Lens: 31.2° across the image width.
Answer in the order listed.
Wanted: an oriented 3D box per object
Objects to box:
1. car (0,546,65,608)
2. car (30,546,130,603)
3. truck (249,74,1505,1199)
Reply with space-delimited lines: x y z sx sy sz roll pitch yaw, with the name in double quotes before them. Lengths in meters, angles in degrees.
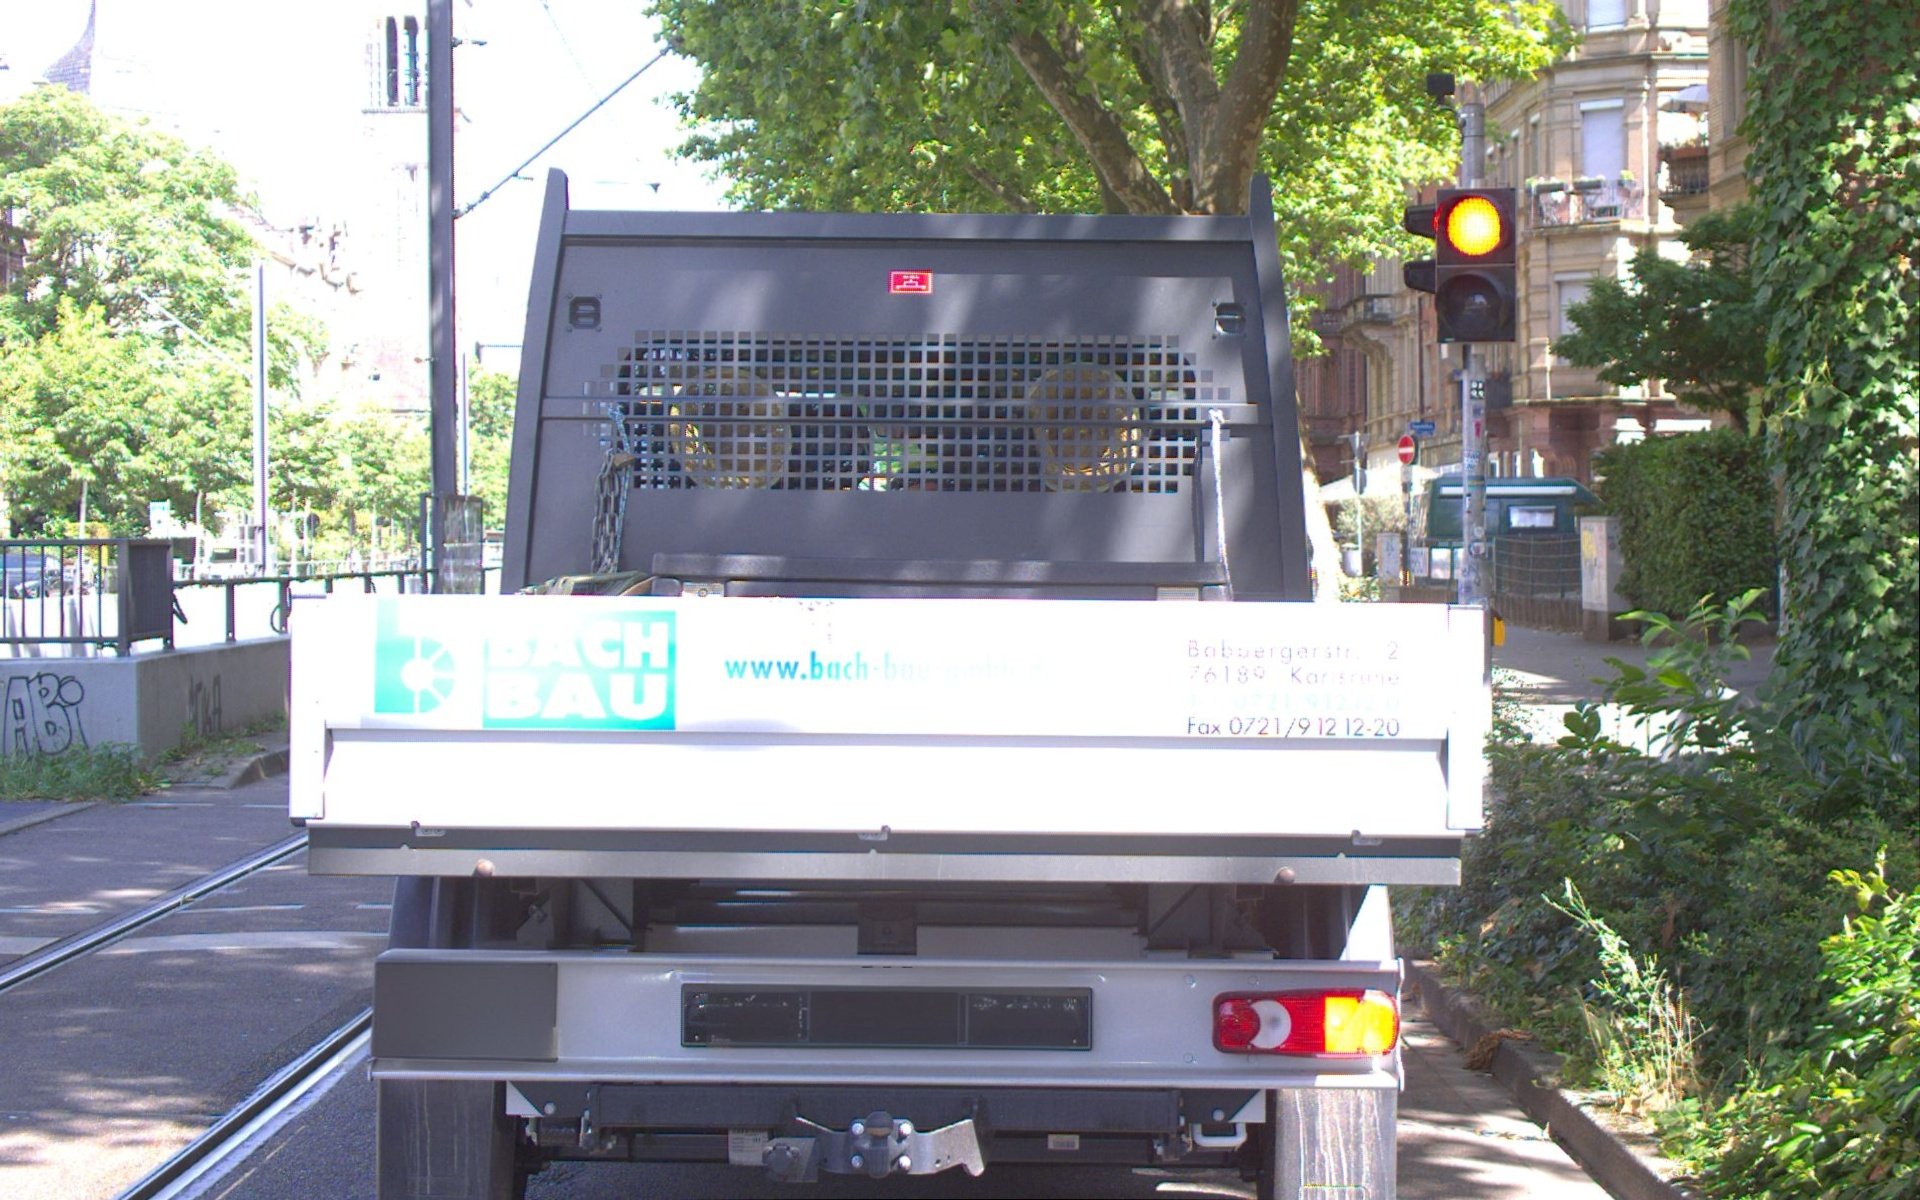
"car" -23.439 -0.574 84.830 1.770 1.493 4.000 0 1 -2
"car" -23.701 -0.704 92.666 1.770 1.493 4.000 0 1 -2
"truck" -0.135 0.223 8.081 2.138 2.311 4.402 0 1 0
